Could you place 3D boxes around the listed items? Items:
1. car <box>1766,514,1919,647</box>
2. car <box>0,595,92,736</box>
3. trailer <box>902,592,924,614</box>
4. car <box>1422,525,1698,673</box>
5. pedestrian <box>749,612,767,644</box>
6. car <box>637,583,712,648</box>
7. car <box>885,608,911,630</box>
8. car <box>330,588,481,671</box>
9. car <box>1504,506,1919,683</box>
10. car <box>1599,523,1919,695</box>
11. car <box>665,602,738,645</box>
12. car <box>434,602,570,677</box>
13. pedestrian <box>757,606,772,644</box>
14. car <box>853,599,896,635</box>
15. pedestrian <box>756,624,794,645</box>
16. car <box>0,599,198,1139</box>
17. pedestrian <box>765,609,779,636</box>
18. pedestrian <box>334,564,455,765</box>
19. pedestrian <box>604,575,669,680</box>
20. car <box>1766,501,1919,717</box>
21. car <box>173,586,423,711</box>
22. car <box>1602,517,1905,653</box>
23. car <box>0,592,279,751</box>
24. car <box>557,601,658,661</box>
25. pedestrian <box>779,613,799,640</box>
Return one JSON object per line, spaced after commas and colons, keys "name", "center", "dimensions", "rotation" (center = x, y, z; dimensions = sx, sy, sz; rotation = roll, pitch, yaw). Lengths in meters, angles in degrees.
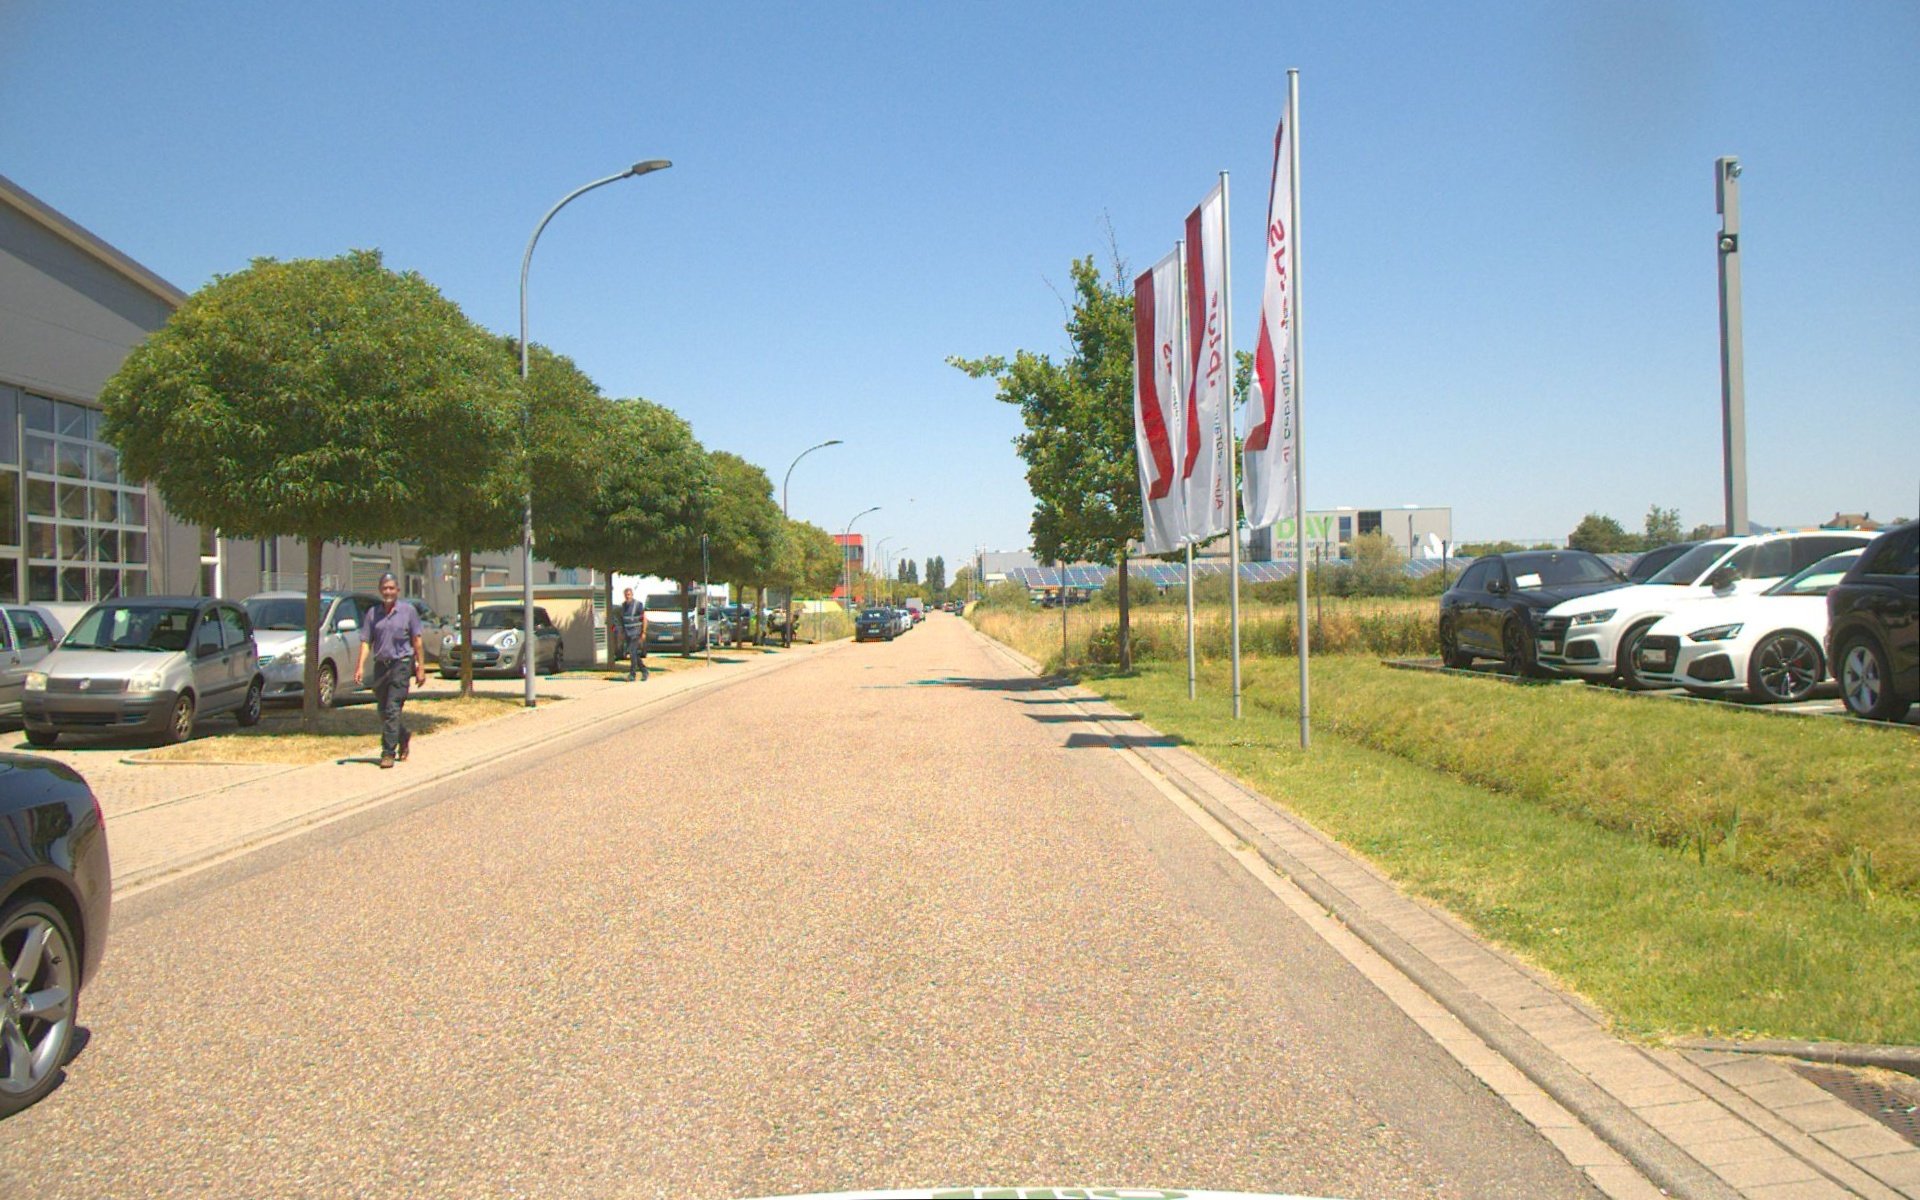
{"name": "car", "center": [13.636, -0.311, 23.525], "dimensions": [1.983, 1.755, 4.809], "rotation": [-3, 0, 1]}
{"name": "car", "center": [-11.218, 0.705, 18.141], "dimensions": [1.649, 1.526, 3.701], "rotation": [0, 0, -4]}
{"name": "trailer", "center": [-4.873, 0.321, 173.764], "dimensions": [2.156, 2.175, 4.285], "rotation": [-2, 0, -1]}
{"name": "car", "center": [8.152, -0.014, 23.053], "dimensions": [1.983, 1.722, 5.108], "rotation": [-3, 0, 1]}
{"name": "pedestrian", "center": [-7.532, 1.060, 61.675], "dimensions": [0.468, 1.170, 0.555], "rotation": [1, -3, 9]}
{"name": "car", "center": [-9.498, 0.498, 55.335], "dimensions": [1.800, 2.054, 5.123], "rotation": [1, 0, -3]}
{"name": "car", "center": [-4.575, 1.374, 122.546], "dimensions": [1.750, 1.547, 3.982], "rotation": [-2, 0, -1]}
{"name": "car", "center": [-11.638, 0.583, 35.004], "dimensions": [1.699, 1.656, 4.348], "rotation": [0, 0, 0]}
{"name": "car", "center": [8.921, -0.081, 19.219], "dimensions": [4.438, 1.722, 2.030], "rotation": [-3, 0, -3]}
{"name": "car", "center": [9.030, 0.020, 16.548], "dimensions": [4.438, 1.482, 2.030], "rotation": [-3, 0, -3]}
{"name": "car", "center": [-9.490, 0.874, 61.143], "dimensions": [1.887, 1.466, 4.840], "rotation": [-2, -1, 0]}
{"name": "car", "center": [-9.410, 0.771, 34.260], "dimensions": [1.729, 1.479, 3.840], "rotation": [0, 0, 0]}
{"name": "pedestrian", "center": [-8.450, 1.090, 71.656], "dimensions": [0.495, 1.623, 0.753], "rotation": [1, -1, 2]}
{"name": "car", "center": [-4.098, 0.788, 79.698], "dimensions": [1.888, 1.595, 4.188], "rotation": [-2, 0, -2]}
{"name": "pedestrian", "center": [-7.067, 1.313, 63.285], "dimensions": [1.330, 0.762, 0.753], "rotation": [1, 0, 1]}
{"name": "car", "center": [-3.615, 0.793, 3.636], "dimensions": [1.787, 1.526, 4.525], "rotation": [-2, 0, -1]}
{"name": "pedestrian", "center": [-8.315, 0.992, 73.168], "dimensions": [0.495, 1.212, 0.753], "rotation": [1, -1, 2]}
{"name": "pedestrian", "center": [-5.372, 0.592, 15.776], "dimensions": [0.729, 1.833, 1.135], "rotation": [1, 0, 1]}
{"name": "pedestrian", "center": [-6.322, 0.528, 32.332], "dimensions": [0.827, 2.007, 0.960], "rotation": [0, 0, 39]}
{"name": "car", "center": [8.086, 0.014, 12.076], "dimensions": [1.984, 1.600, 4.778], "rotation": [-3, 0, 0]}
{"name": "car", "center": [-9.230, 0.628, 23.489], "dimensions": [1.729, 1.601, 4.539], "rotation": [0, 0, 0]}
{"name": "car", "center": [11.071, -0.196, 23.543], "dimensions": [1.983, 1.638, 4.809], "rotation": [-3, 0, 1]}
{"name": "car", "center": [-8.910, 0.692, 18.080], "dimensions": [1.650, 1.526, 3.700], "rotation": [-1, 0, -5]}
{"name": "car", "center": [-9.431, 0.801, 44.611], "dimensions": [1.729, 1.479, 4.713], "rotation": [-1, 0, -1]}
{"name": "pedestrian", "center": [-7.437, 1.150, 72.031], "dimensions": [0.735, 1.118, 0.647], "rotation": [1, -1, 3]}
